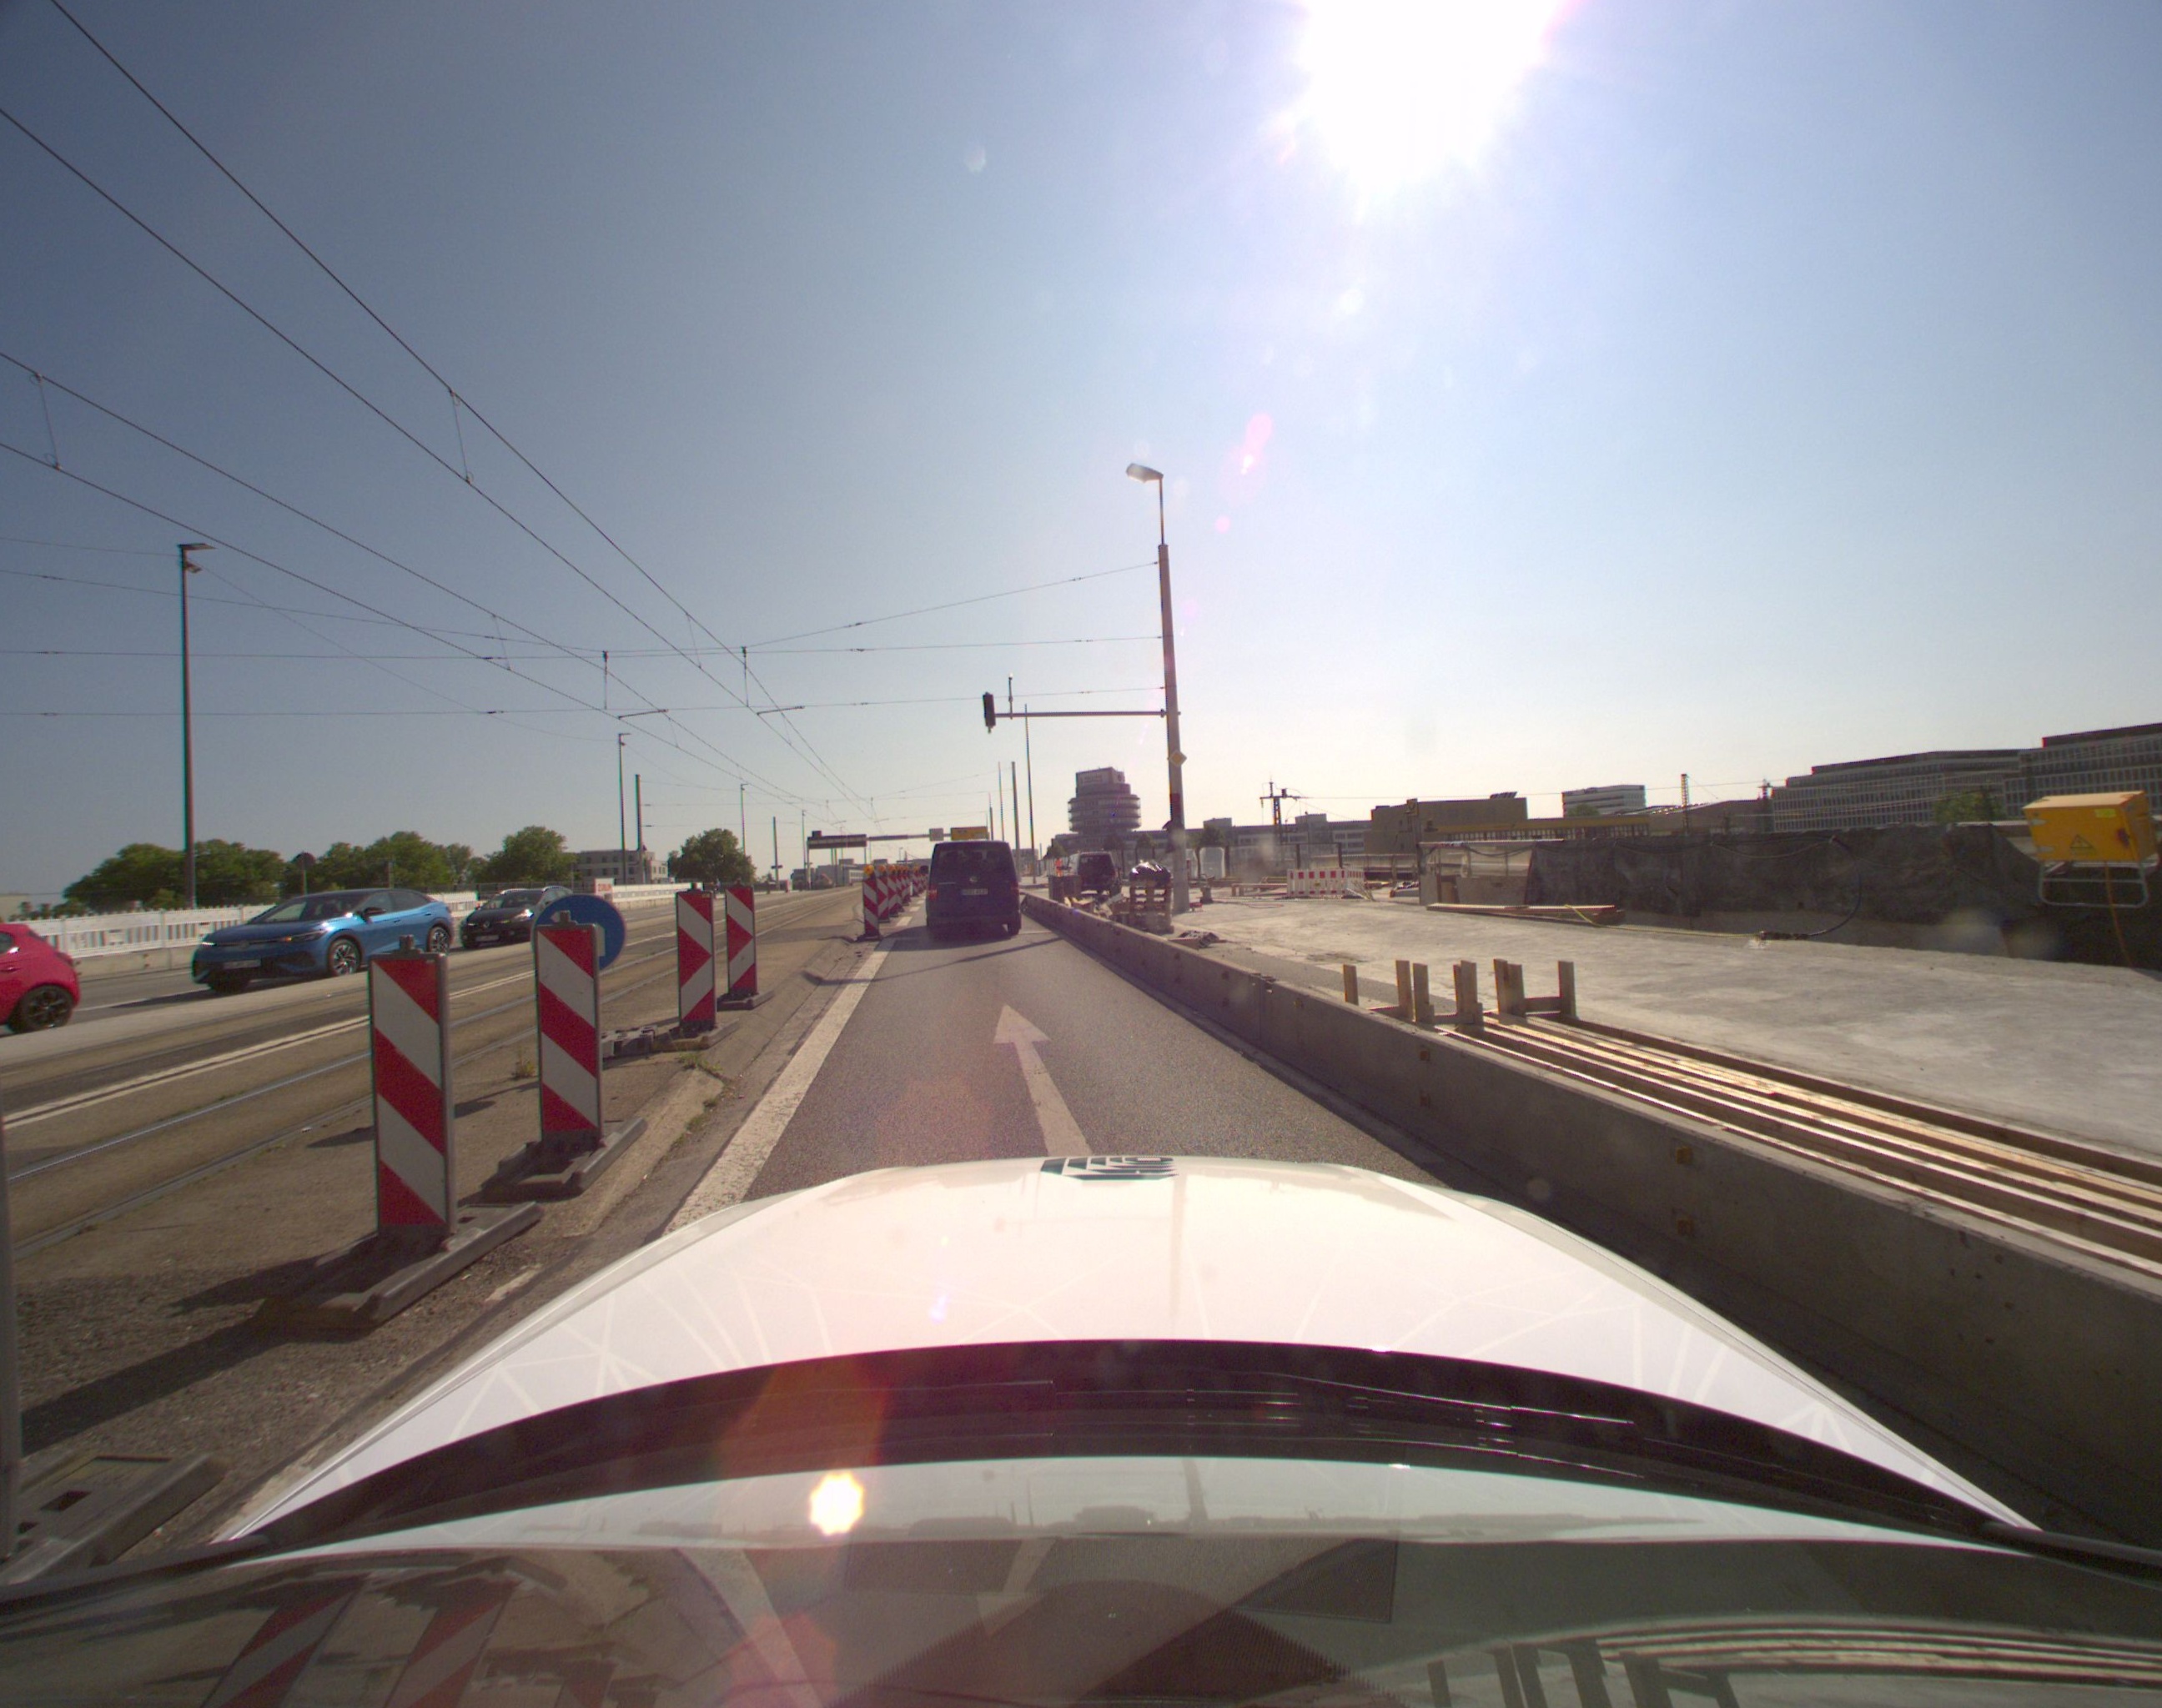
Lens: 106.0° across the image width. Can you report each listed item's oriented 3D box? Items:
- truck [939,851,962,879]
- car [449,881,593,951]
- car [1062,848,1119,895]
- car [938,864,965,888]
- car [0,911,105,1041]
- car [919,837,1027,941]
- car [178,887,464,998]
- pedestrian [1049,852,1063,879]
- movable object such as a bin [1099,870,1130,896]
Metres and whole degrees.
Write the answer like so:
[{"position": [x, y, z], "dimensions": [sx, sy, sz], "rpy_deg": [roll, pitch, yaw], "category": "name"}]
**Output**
[{"position": [-16.339, 1.345, 101.915], "dimensions": [2.460, 3.134, 11.178], "rpy_deg": [-3, 0, -9], "category": "truck"}, {"position": [-15.088, 1.596, 22.216], "dimensions": [1.505, 1.500, 4.164], "rpy_deg": [-4, 0, -9], "category": "car"}, {"position": [0.364, 0.822, 38.202], "dimensions": [1.878, 2.033, 4.876], "rpy_deg": [-2, -1, -8], "category": "car"}, {"position": [-8.980, 1.472, 56.186], "dimensions": [1.717, 1.532, 3.685], "rpy_deg": [-2, 0, -10], "category": "car"}, {"position": [-13.213, 1.491, 8.540], "dimensions": [1.534, 1.437, 3.966], "rpy_deg": [-4, 0, -10], "category": "car"}, {"position": [-2.452, 0.691, 17.570], "dimensions": [1.818, 1.905, 4.034], "rpy_deg": [-2, 0, -14], "category": "car"}, {"position": [-14.037, 1.515, 15.486], "dimensions": [1.670, 1.550, 4.540], "rpy_deg": [-4, 0, -10], "category": "car"}, {"position": [-1.862, 0.887, 60.647], "dimensions": [0.782, 1.935, 0.797], "rpy_deg": [-4, -2, -10], "category": "pedestrian"}, {"position": [1.427, 1.224, 34.619], "dimensions": [0.930, 1.074, 0.897], "rpy_deg": [-3, -1, 36], "category": "movable object such as a bin"}]
